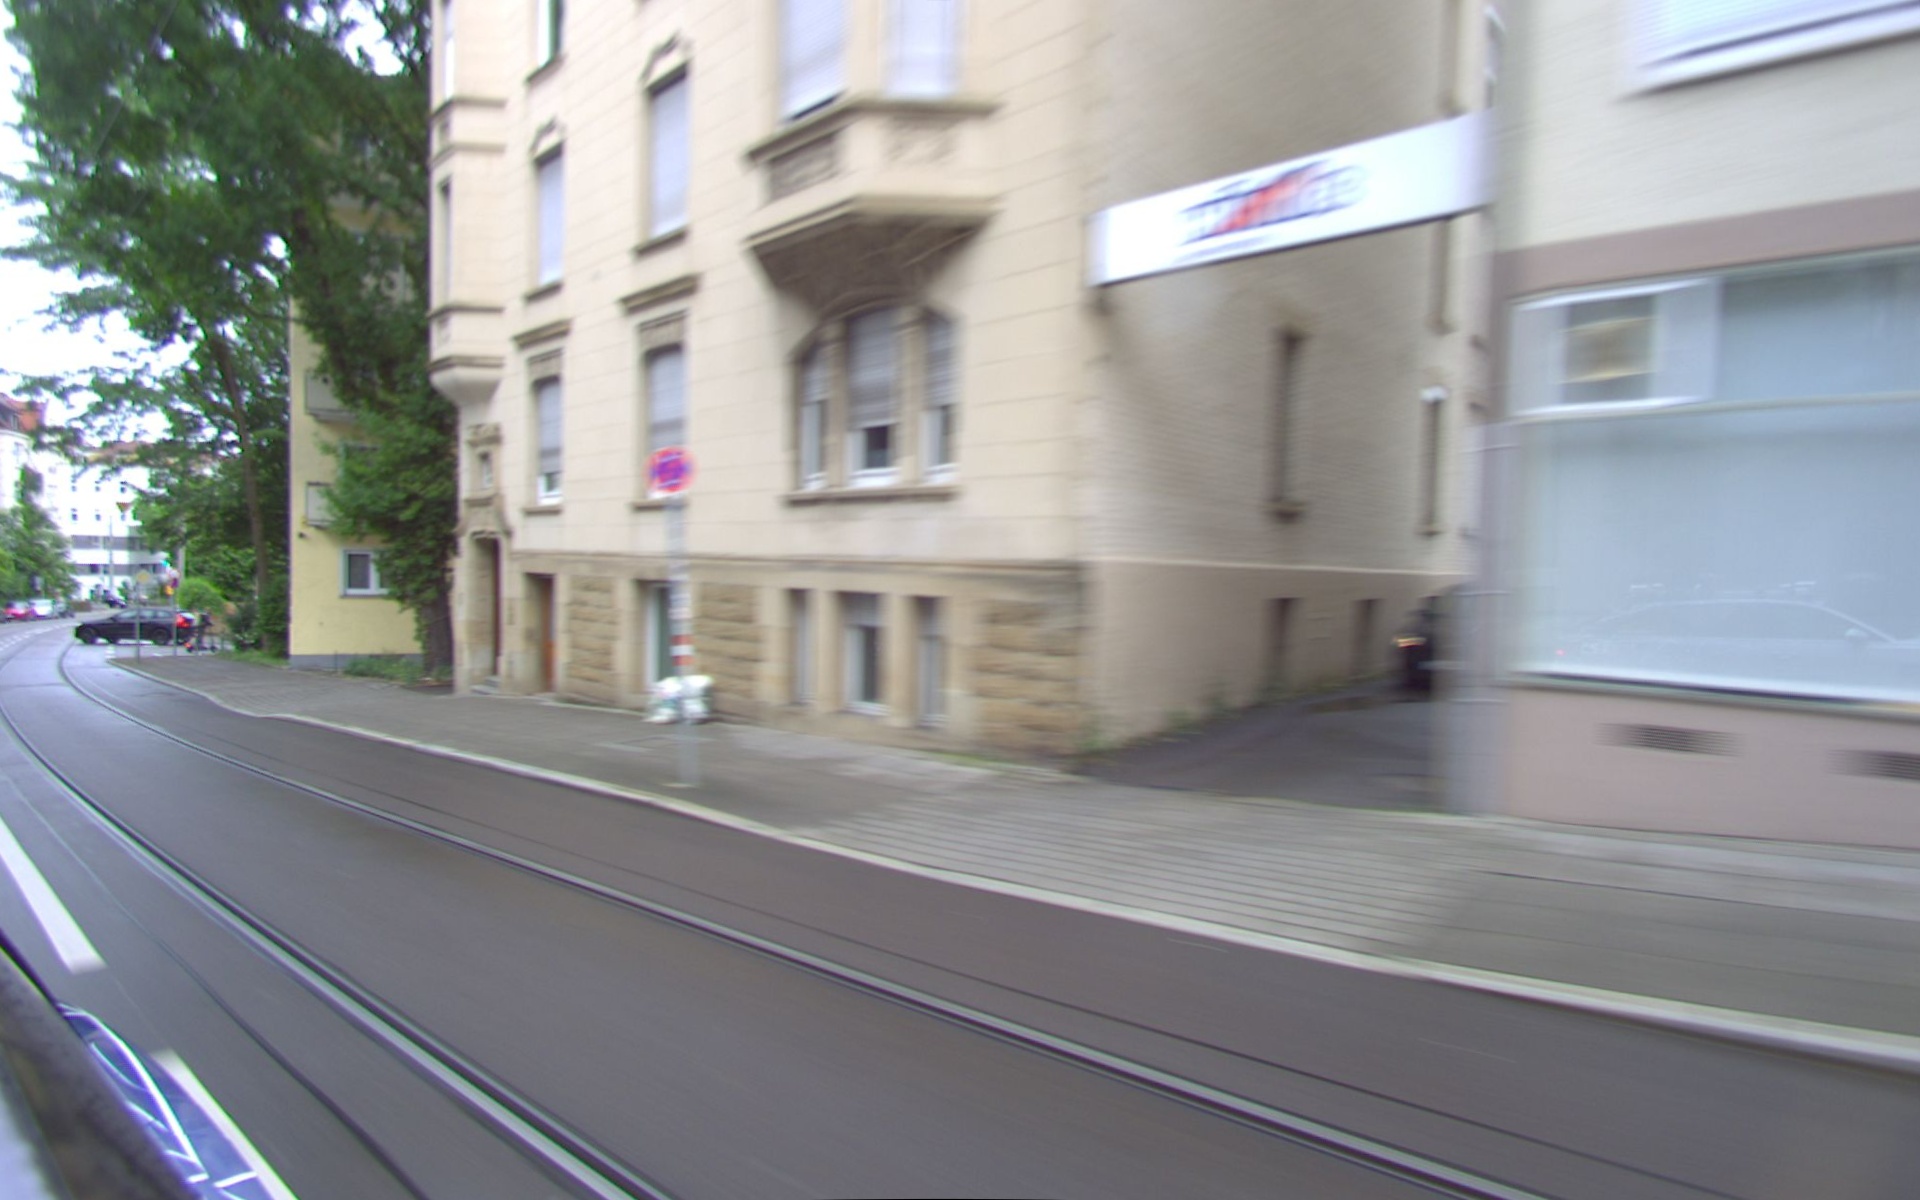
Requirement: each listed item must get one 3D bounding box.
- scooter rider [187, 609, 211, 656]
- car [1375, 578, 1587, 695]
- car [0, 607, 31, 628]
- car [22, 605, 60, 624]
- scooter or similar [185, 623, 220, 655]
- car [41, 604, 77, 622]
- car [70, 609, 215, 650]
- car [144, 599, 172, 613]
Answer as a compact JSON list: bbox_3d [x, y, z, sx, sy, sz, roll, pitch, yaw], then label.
[{"bbox_3d":[-31.398,1.337,41.759,0.645,1.872,0.680,1,1,45],"label":"scooter rider"},{"bbox_3d":[7.682,0.443,14.745,1.740,1.465,3.944,-2,0,42],"label":"car"},{"bbox_3d":[-69.773,1.285,74.424,1.532,1.378,3.133,-2,2,-31],"label":"car"},{"bbox_3d":[-74.588,1.155,82.177,1.588,1.453,3.699,-2,2,-31],"label":"car"},{"bbox_3d":[-31.327,1.601,41.831,0.645,1.270,1.074,1,1,44],"label":"scooter or similar"},{"bbox_3d":[-77.297,1.088,86.851,1.588,1.453,3.699,-2,2,-31],"label":"car"},{"bbox_3d":[-36.998,1.316,45.941,4.692,1.690,2.076,1,0,-12],"label":"car"},{"bbox_3d":[-96.847,0.714,122.260,1.769,1.521,4.014,0,1,-24],"label":"car"}]
